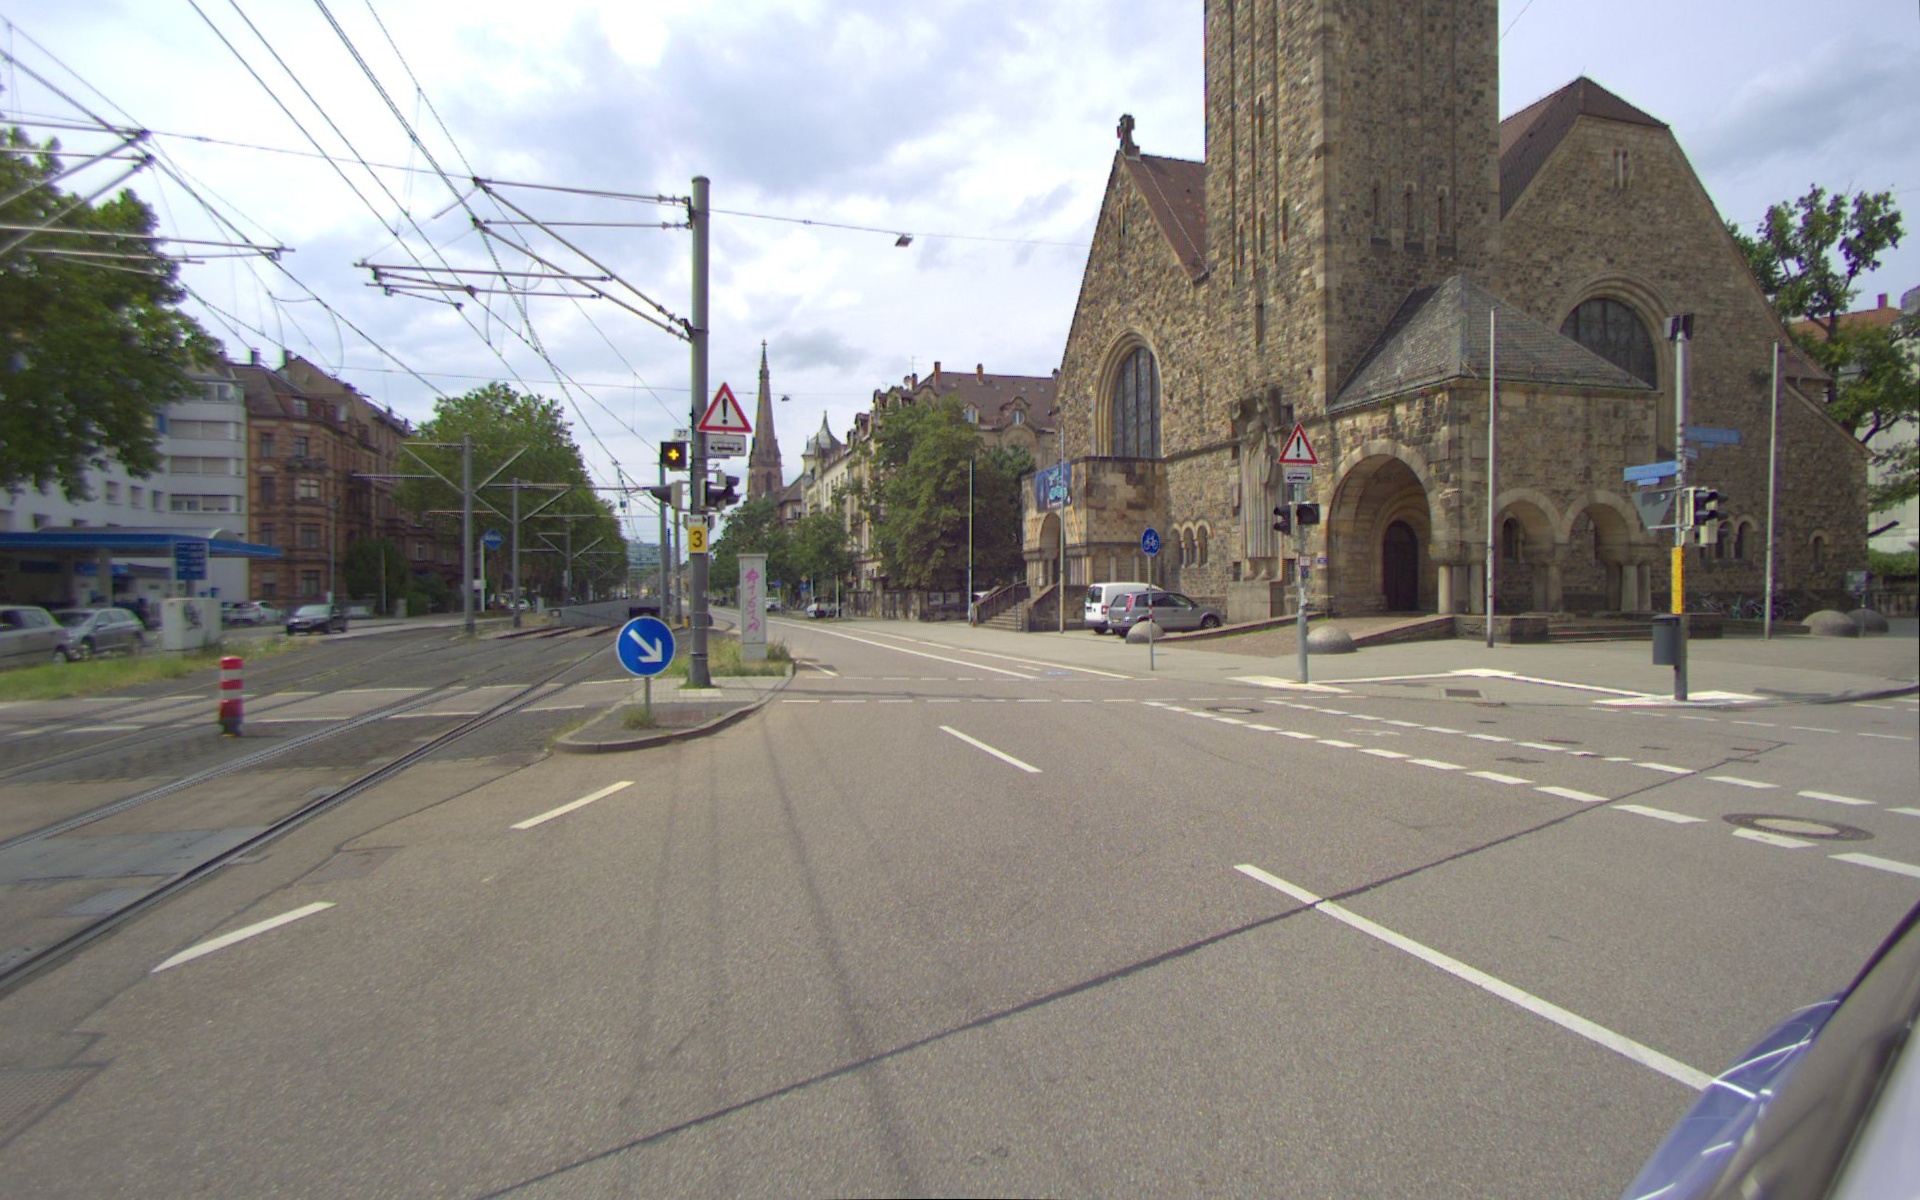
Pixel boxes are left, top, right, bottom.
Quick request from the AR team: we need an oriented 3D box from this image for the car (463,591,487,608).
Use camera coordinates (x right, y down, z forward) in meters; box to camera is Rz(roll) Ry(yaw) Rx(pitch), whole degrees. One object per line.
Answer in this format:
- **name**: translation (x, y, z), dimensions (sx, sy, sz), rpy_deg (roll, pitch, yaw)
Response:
- **car**: translation (-59.531, -0.052, 124.246), dimensions (1.958, 2.039, 4.008), rpy_deg (0, 0, -16)

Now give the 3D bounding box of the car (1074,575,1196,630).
- **car**: translation (6.334, 0.071, 36.845), dimensions (3.871, 1.905, 2.004), rpy_deg (-1, 0, -17)

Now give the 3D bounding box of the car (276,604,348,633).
- **car**: translation (-30.571, 0.835, 47.840), dimensions (1.958, 1.282, 4.008), rpy_deg (0, 0, -19)

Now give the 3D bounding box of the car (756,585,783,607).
- **car**: translation (-17.946, -0.377, 95.327), dimensions (1.958, 2.039, 4.008), rpy_deg (-1, 1, -19)

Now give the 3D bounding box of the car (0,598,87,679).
- **car**: translation (-19.478, 0.743, 20.016), dimensions (1.800, 1.530, 4.297), rpy_deg (0, 0, -17)

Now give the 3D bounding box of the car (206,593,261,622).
- **car**: translation (-53.132, 0.550, 74.103), dimensions (1.958, 2.039, 4.008), rpy_deg (0, 0, -15)

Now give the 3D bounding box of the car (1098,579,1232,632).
- **car**: translation (6.837, 0.146, 33.931), dimensions (3.916, 1.672, 2.004), rpy_deg (-1, 0, -17)

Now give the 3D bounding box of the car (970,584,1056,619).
- **car**: translation (2.637, 0.073, 50.722), dimensions (3.871, 1.661, 2.004), rpy_deg (-1, 0, -17)

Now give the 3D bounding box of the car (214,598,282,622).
- **car**: translation (-40.975, 0.563, 58.349), dimensions (1.958, 1.282, 4.008), rpy_deg (0, 0, -16)

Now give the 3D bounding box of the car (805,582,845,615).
- **car**: translation (-8.696, -0.122, 64.839), dimensions (1.958, 2.039, 4.008), rpy_deg (0, 1, -16)

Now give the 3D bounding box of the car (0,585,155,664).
- **car**: translation (-25.166, 0.611, 28.780), dimensions (1.958, 2.039, 4.008), rpy_deg (-1, 1, -13)
